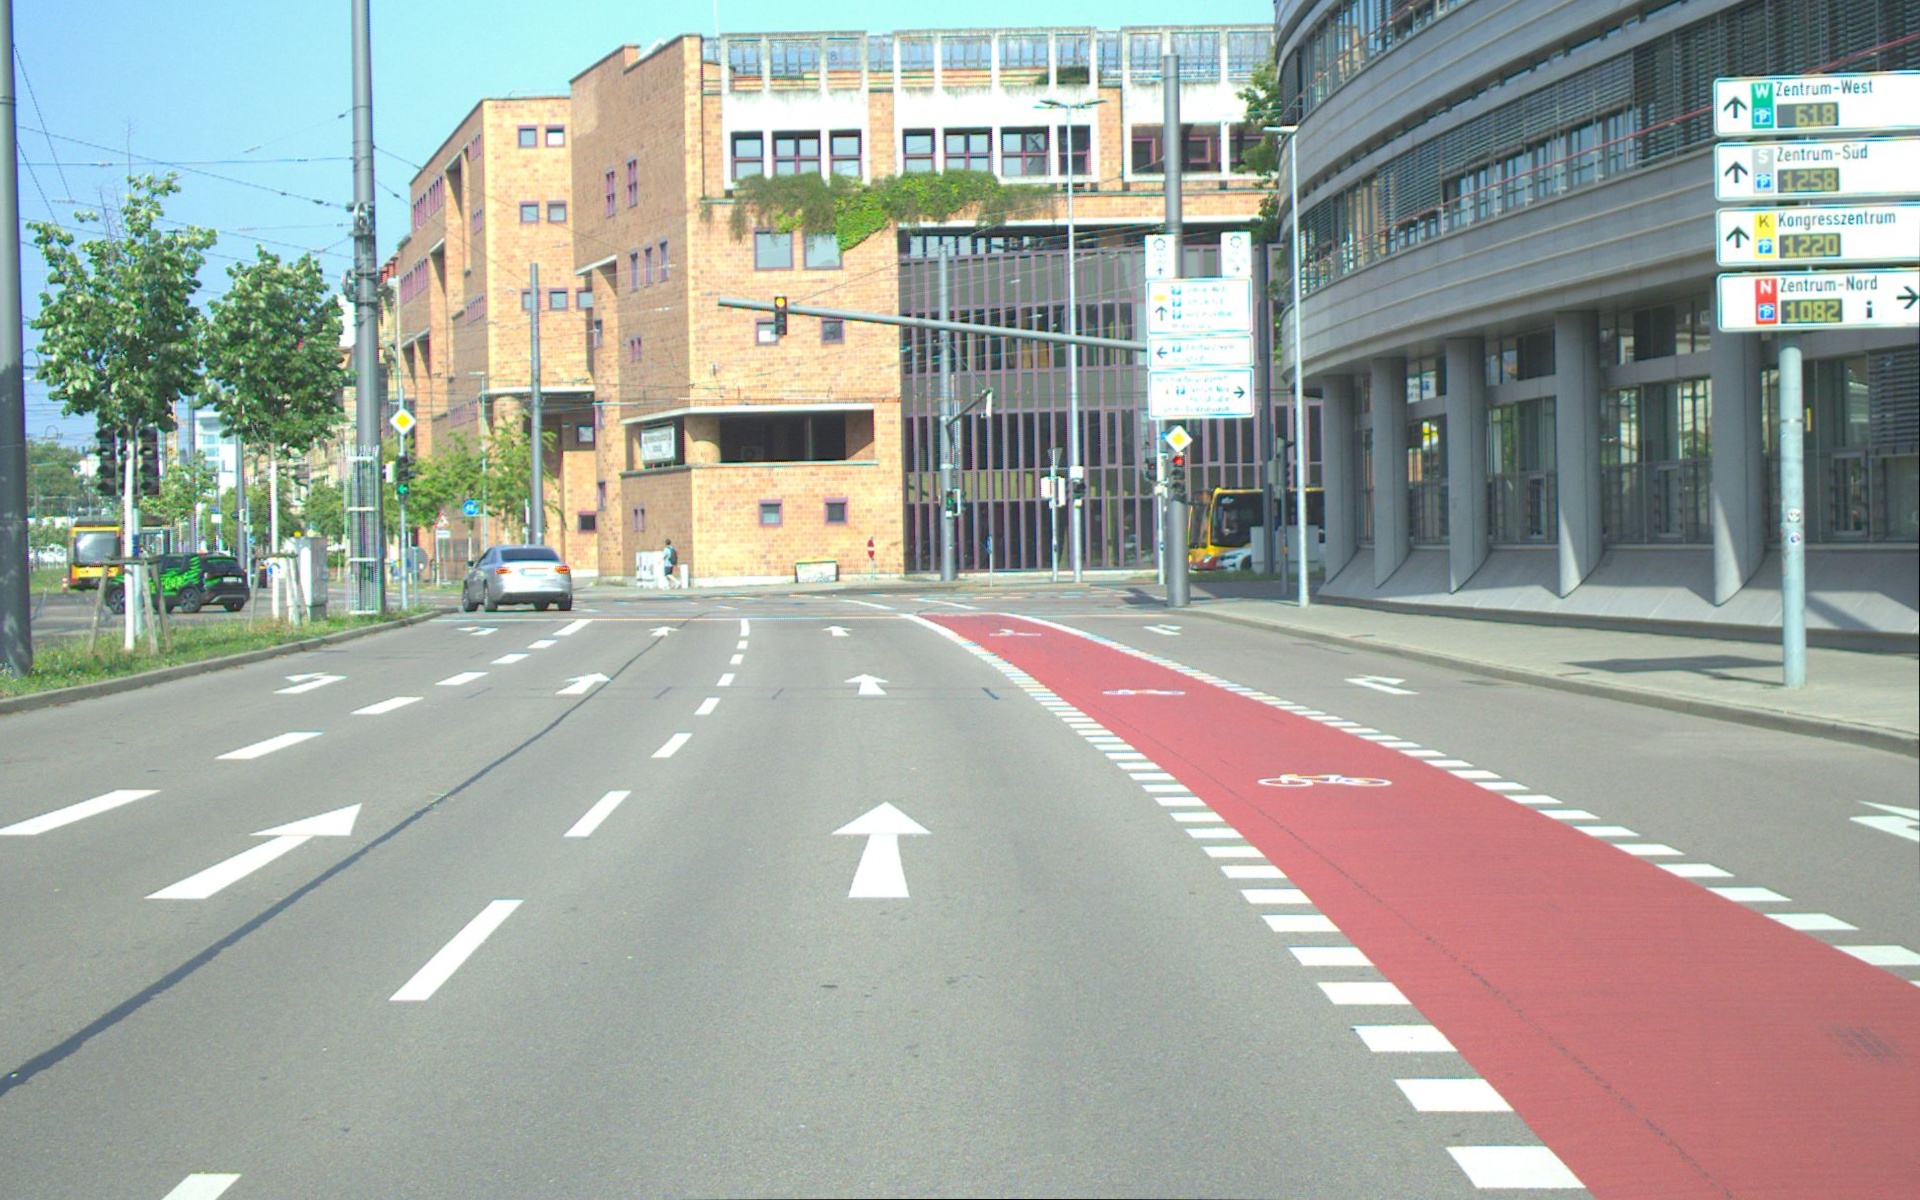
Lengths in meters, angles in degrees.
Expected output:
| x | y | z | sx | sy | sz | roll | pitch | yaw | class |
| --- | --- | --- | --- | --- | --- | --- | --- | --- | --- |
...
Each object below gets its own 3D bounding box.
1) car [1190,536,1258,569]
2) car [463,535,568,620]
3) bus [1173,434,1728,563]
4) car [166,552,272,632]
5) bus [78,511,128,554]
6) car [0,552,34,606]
| x | y | z | sx | sy | sz | roll | pitch | yaw | class |
| --- | --- | --- | --- | --- | --- | --- | --- | --- | --- |
| 8.285 | -1.494 | 108.035 | 1.951 | 0.955 | 1.094 | 1 | -2 | -6 | car |
| -9.656 | -0.474 | 74.511 | 1.704 | 1.749 | 3.891 | -1 | 0 | -15 | car |
| 15.898 | -3.292 | 112.043 | 17.607 | 3.797 | 2.865 | -1 | -1 | -3 | bus |
| -19.200 | -0.184 | 89.254 | 1.993 | 2.007 | 4.243 | -1 | 0 | -3 | car |
| -40.953 | -3.235 | 164.234 | 1.993 | 2.007 | 4.001 | -1 | 1 | -18 | bus |
| -28.936 | -0.578 | 100.739 | 3.444 | 1.536 | 1.731 | -1 | -1 | 38 | car |
